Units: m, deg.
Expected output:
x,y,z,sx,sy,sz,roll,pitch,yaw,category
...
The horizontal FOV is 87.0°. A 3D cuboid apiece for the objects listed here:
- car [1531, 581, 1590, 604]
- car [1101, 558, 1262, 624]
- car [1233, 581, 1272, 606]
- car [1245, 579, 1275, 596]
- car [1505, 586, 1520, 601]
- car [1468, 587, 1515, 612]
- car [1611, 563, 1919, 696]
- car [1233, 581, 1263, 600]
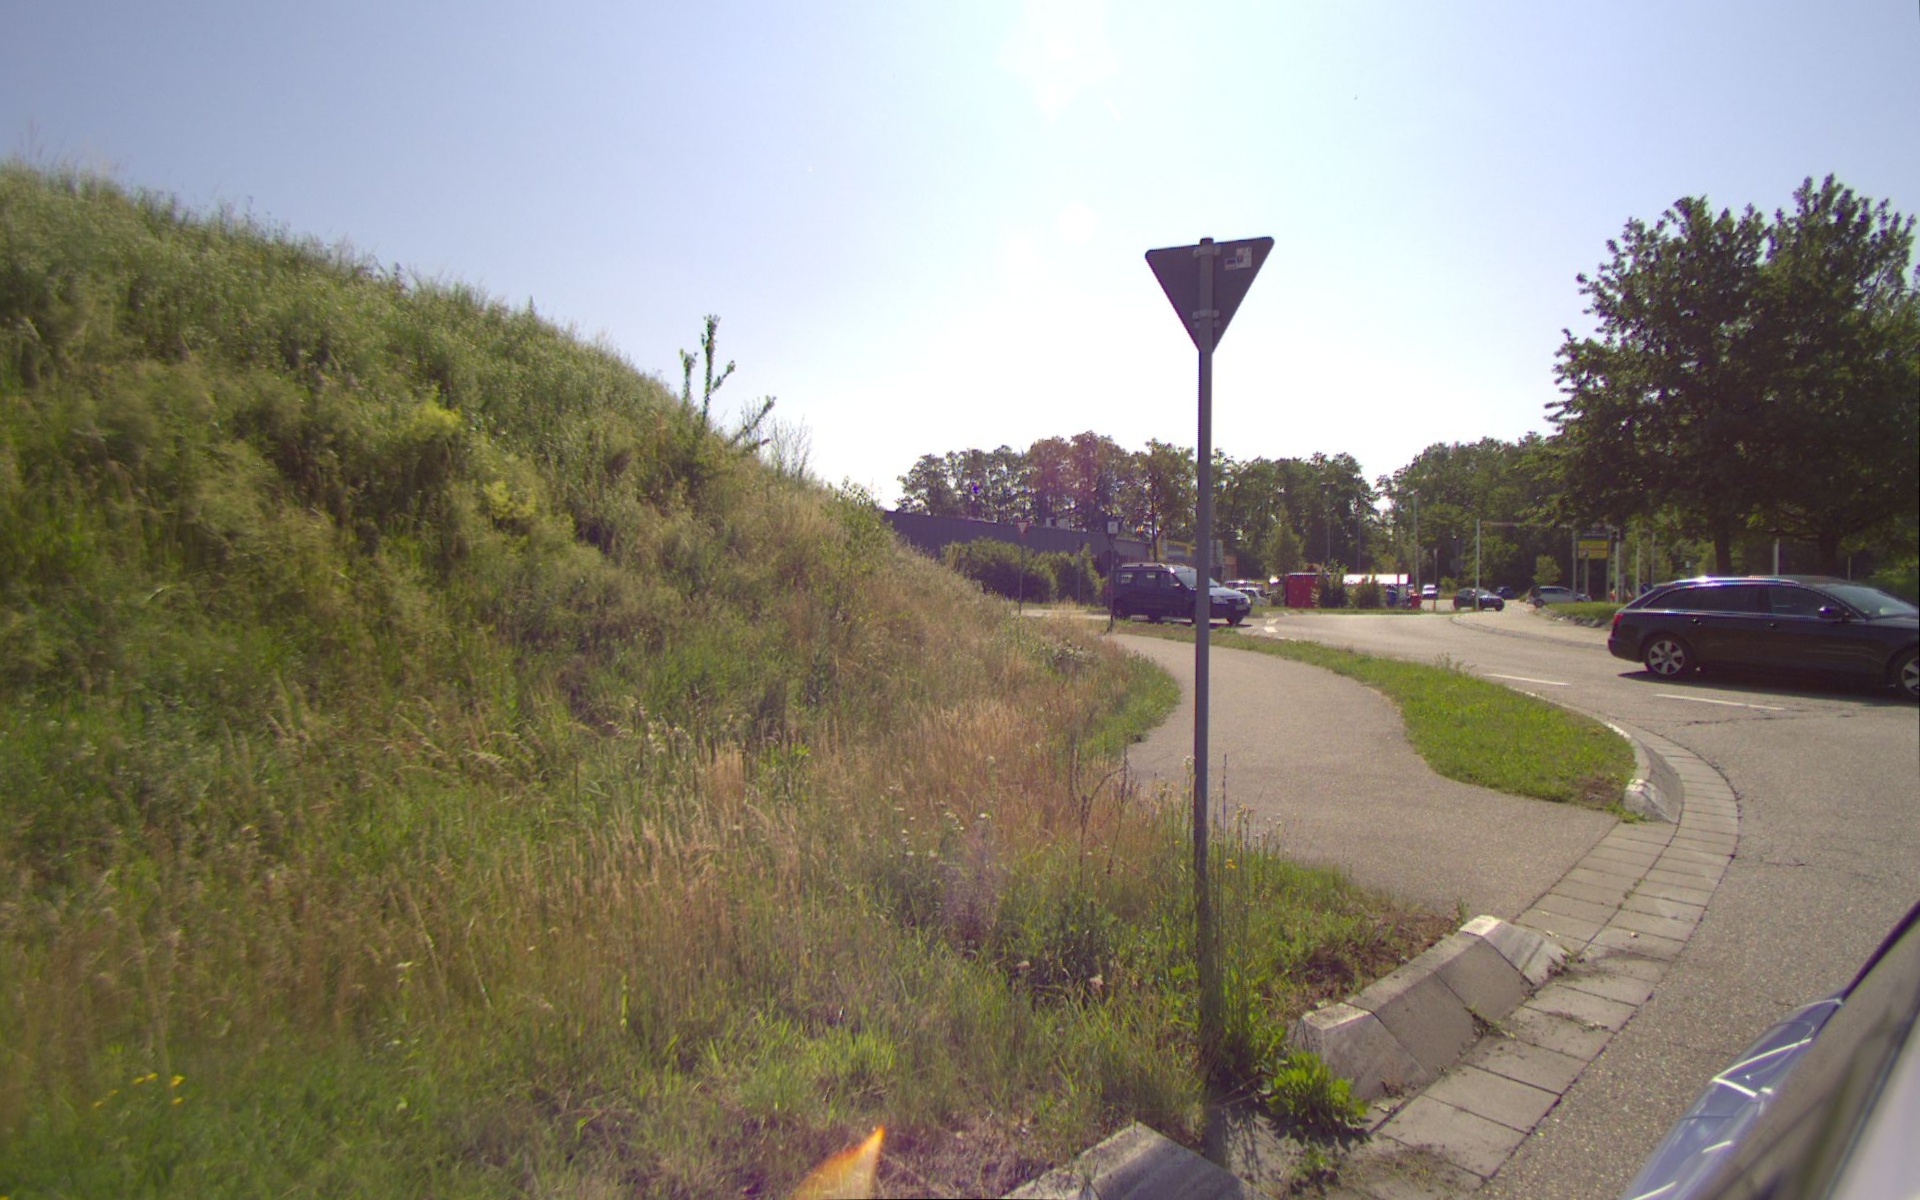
x,y,z,sx,sy,sz,roll,pitch,yaw,category
47.951,-0.633,80.851,3.962,1.816,1.595,0,1,28,car
6.092,-0.318,28.274,1.677,1.676,4.350,-3,3,-37,car
15.472,-0.362,53.482,1.440,1.304,2.803,0,1,29,car
23.986,-1.010,80.853,1.507,1.335,3.959,0,1,30,car
64.439,-0.733,118.047,1.502,1.647,3.640,0,1,29,car
38.724,-0.060,73.850,1.635,1.673,4.201,0,1,8,car
11.526,0.297,13.380,1.777,1.508,4.688,-3,3,-25,car
19.852,-0.683,69.723,1.440,1.304,2.803,0,1,29,car
